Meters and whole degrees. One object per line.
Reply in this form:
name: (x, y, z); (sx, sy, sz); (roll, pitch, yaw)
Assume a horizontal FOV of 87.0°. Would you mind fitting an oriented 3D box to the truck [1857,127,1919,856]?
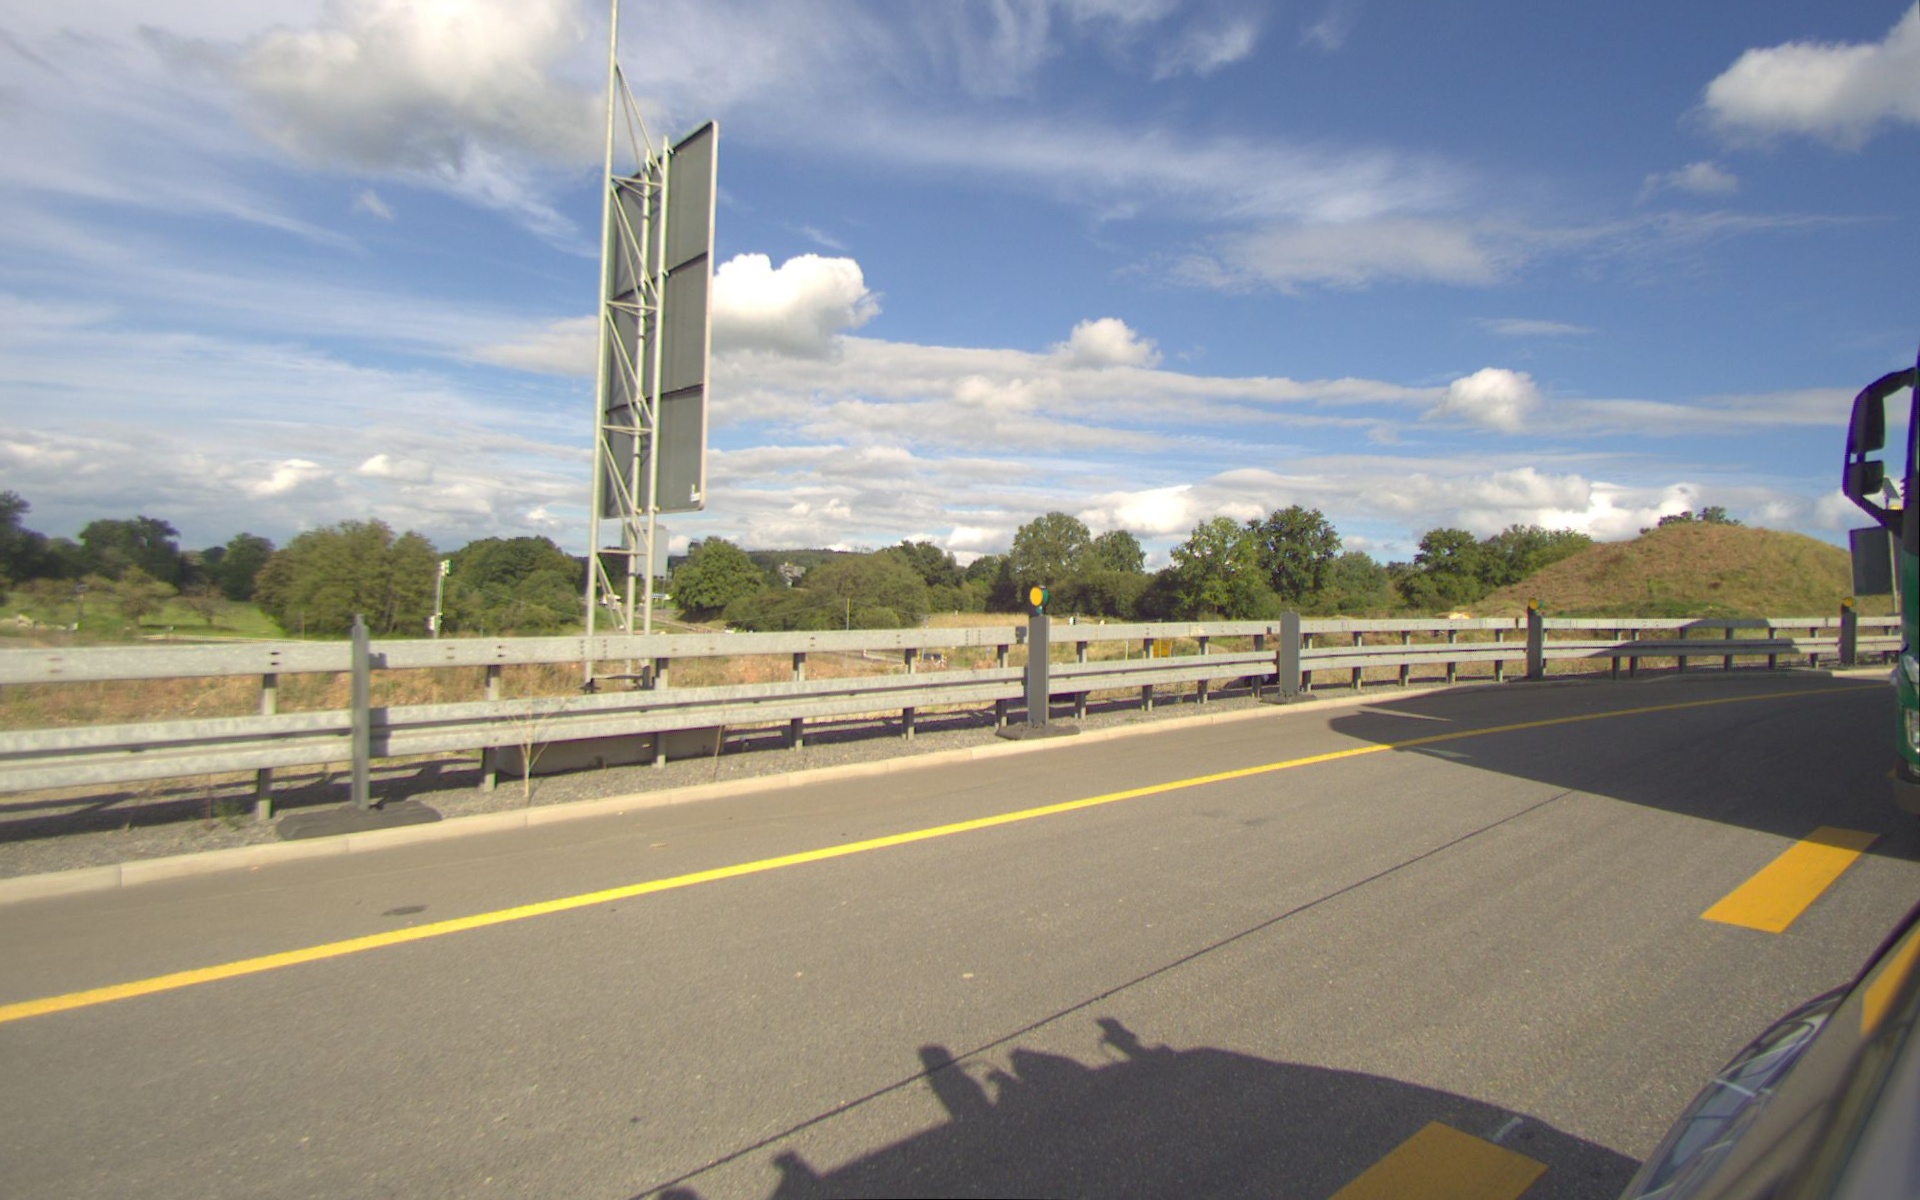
truck: (9.634, -0.659, 7.949); (10.140, 3.896, 2.661); (-1, 0, -42)
